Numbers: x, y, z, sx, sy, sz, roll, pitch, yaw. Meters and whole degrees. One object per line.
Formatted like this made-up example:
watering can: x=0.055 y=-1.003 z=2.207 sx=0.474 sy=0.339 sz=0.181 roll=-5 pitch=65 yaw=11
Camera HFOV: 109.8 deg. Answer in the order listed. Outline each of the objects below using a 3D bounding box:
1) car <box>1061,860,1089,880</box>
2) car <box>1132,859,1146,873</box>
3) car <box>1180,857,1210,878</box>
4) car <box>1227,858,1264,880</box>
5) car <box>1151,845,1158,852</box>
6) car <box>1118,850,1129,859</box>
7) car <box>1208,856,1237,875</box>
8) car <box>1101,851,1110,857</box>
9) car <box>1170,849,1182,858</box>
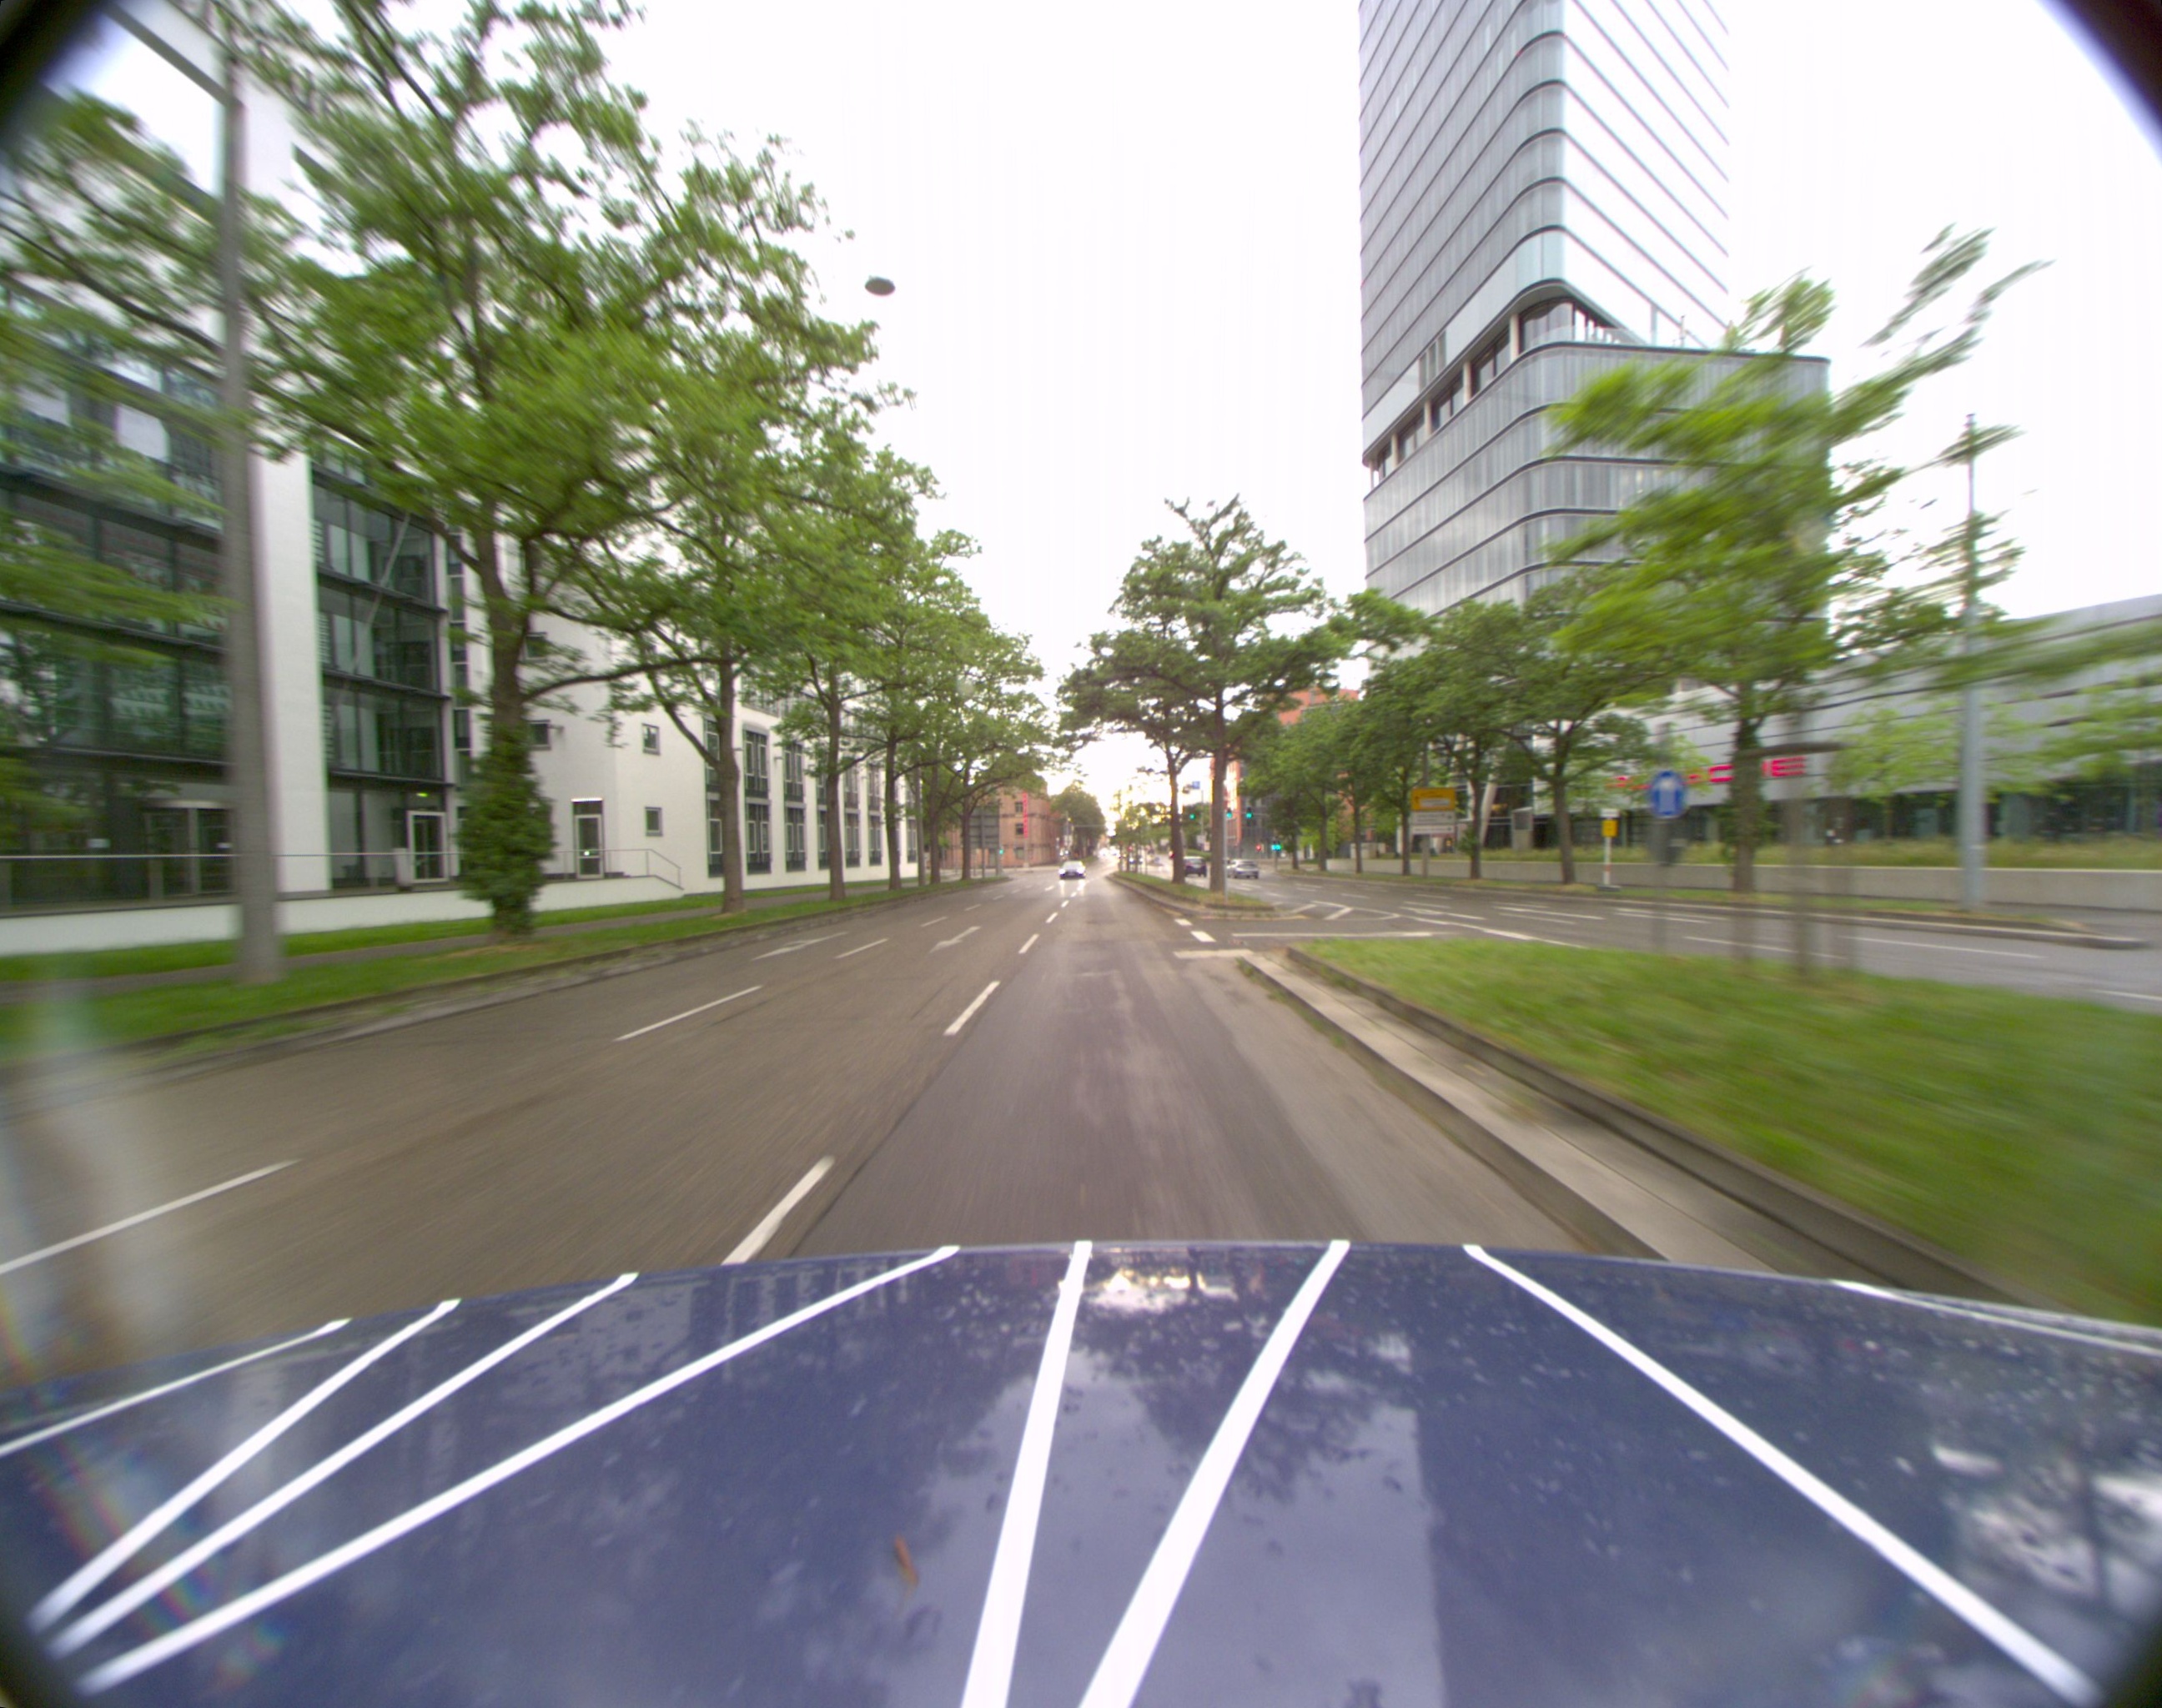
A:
car: x=-0.443 y=1.221 z=59.781 sx=1.878 sy=1.346 sz=4.332 roll=-3 pitch=1 yaw=3
car: x=8.674 y=1.714 z=113.228 sx=1.998 sy=2.002 sz=4.001 roll=-1 pitch=0 yaw=4
car: x=9.368 y=1.084 z=62.899 sx=1.846 sy=1.581 sz=4.173 roll=-1 pitch=1 yaw=0
car: x=12.384 y=1.095 z=57.343 sx=1.894 sy=1.445 sz=3.999 roll=-3 pitch=1 yaw=0
car: x=18.584 y=-1.376 z=192.041 sx=1.782 sy=1.445 sz=4.000 roll=-3 pitch=1 yaw=4
car: x=8.264 y=0.182 z=147.709 sx=1.998 sy=1.674 sz=4.000 roll=-2 pitch=0 yaw=0
car: x=12.487 y=0.979 z=67.387 sx=1.783 sy=1.445 sz=3.999 roll=-3 pitch=1 yaw=0
car: x=6.322 y=0.049 z=196.116 sx=1.998 sy=1.575 sz=4.001 roll=-1 pitch=0 yaw=4
car: x=18.220 y=-0.113 z=146.254 sx=1.783 sy=1.445 sz=3.999 roll=-3 pitch=1 yaw=0
